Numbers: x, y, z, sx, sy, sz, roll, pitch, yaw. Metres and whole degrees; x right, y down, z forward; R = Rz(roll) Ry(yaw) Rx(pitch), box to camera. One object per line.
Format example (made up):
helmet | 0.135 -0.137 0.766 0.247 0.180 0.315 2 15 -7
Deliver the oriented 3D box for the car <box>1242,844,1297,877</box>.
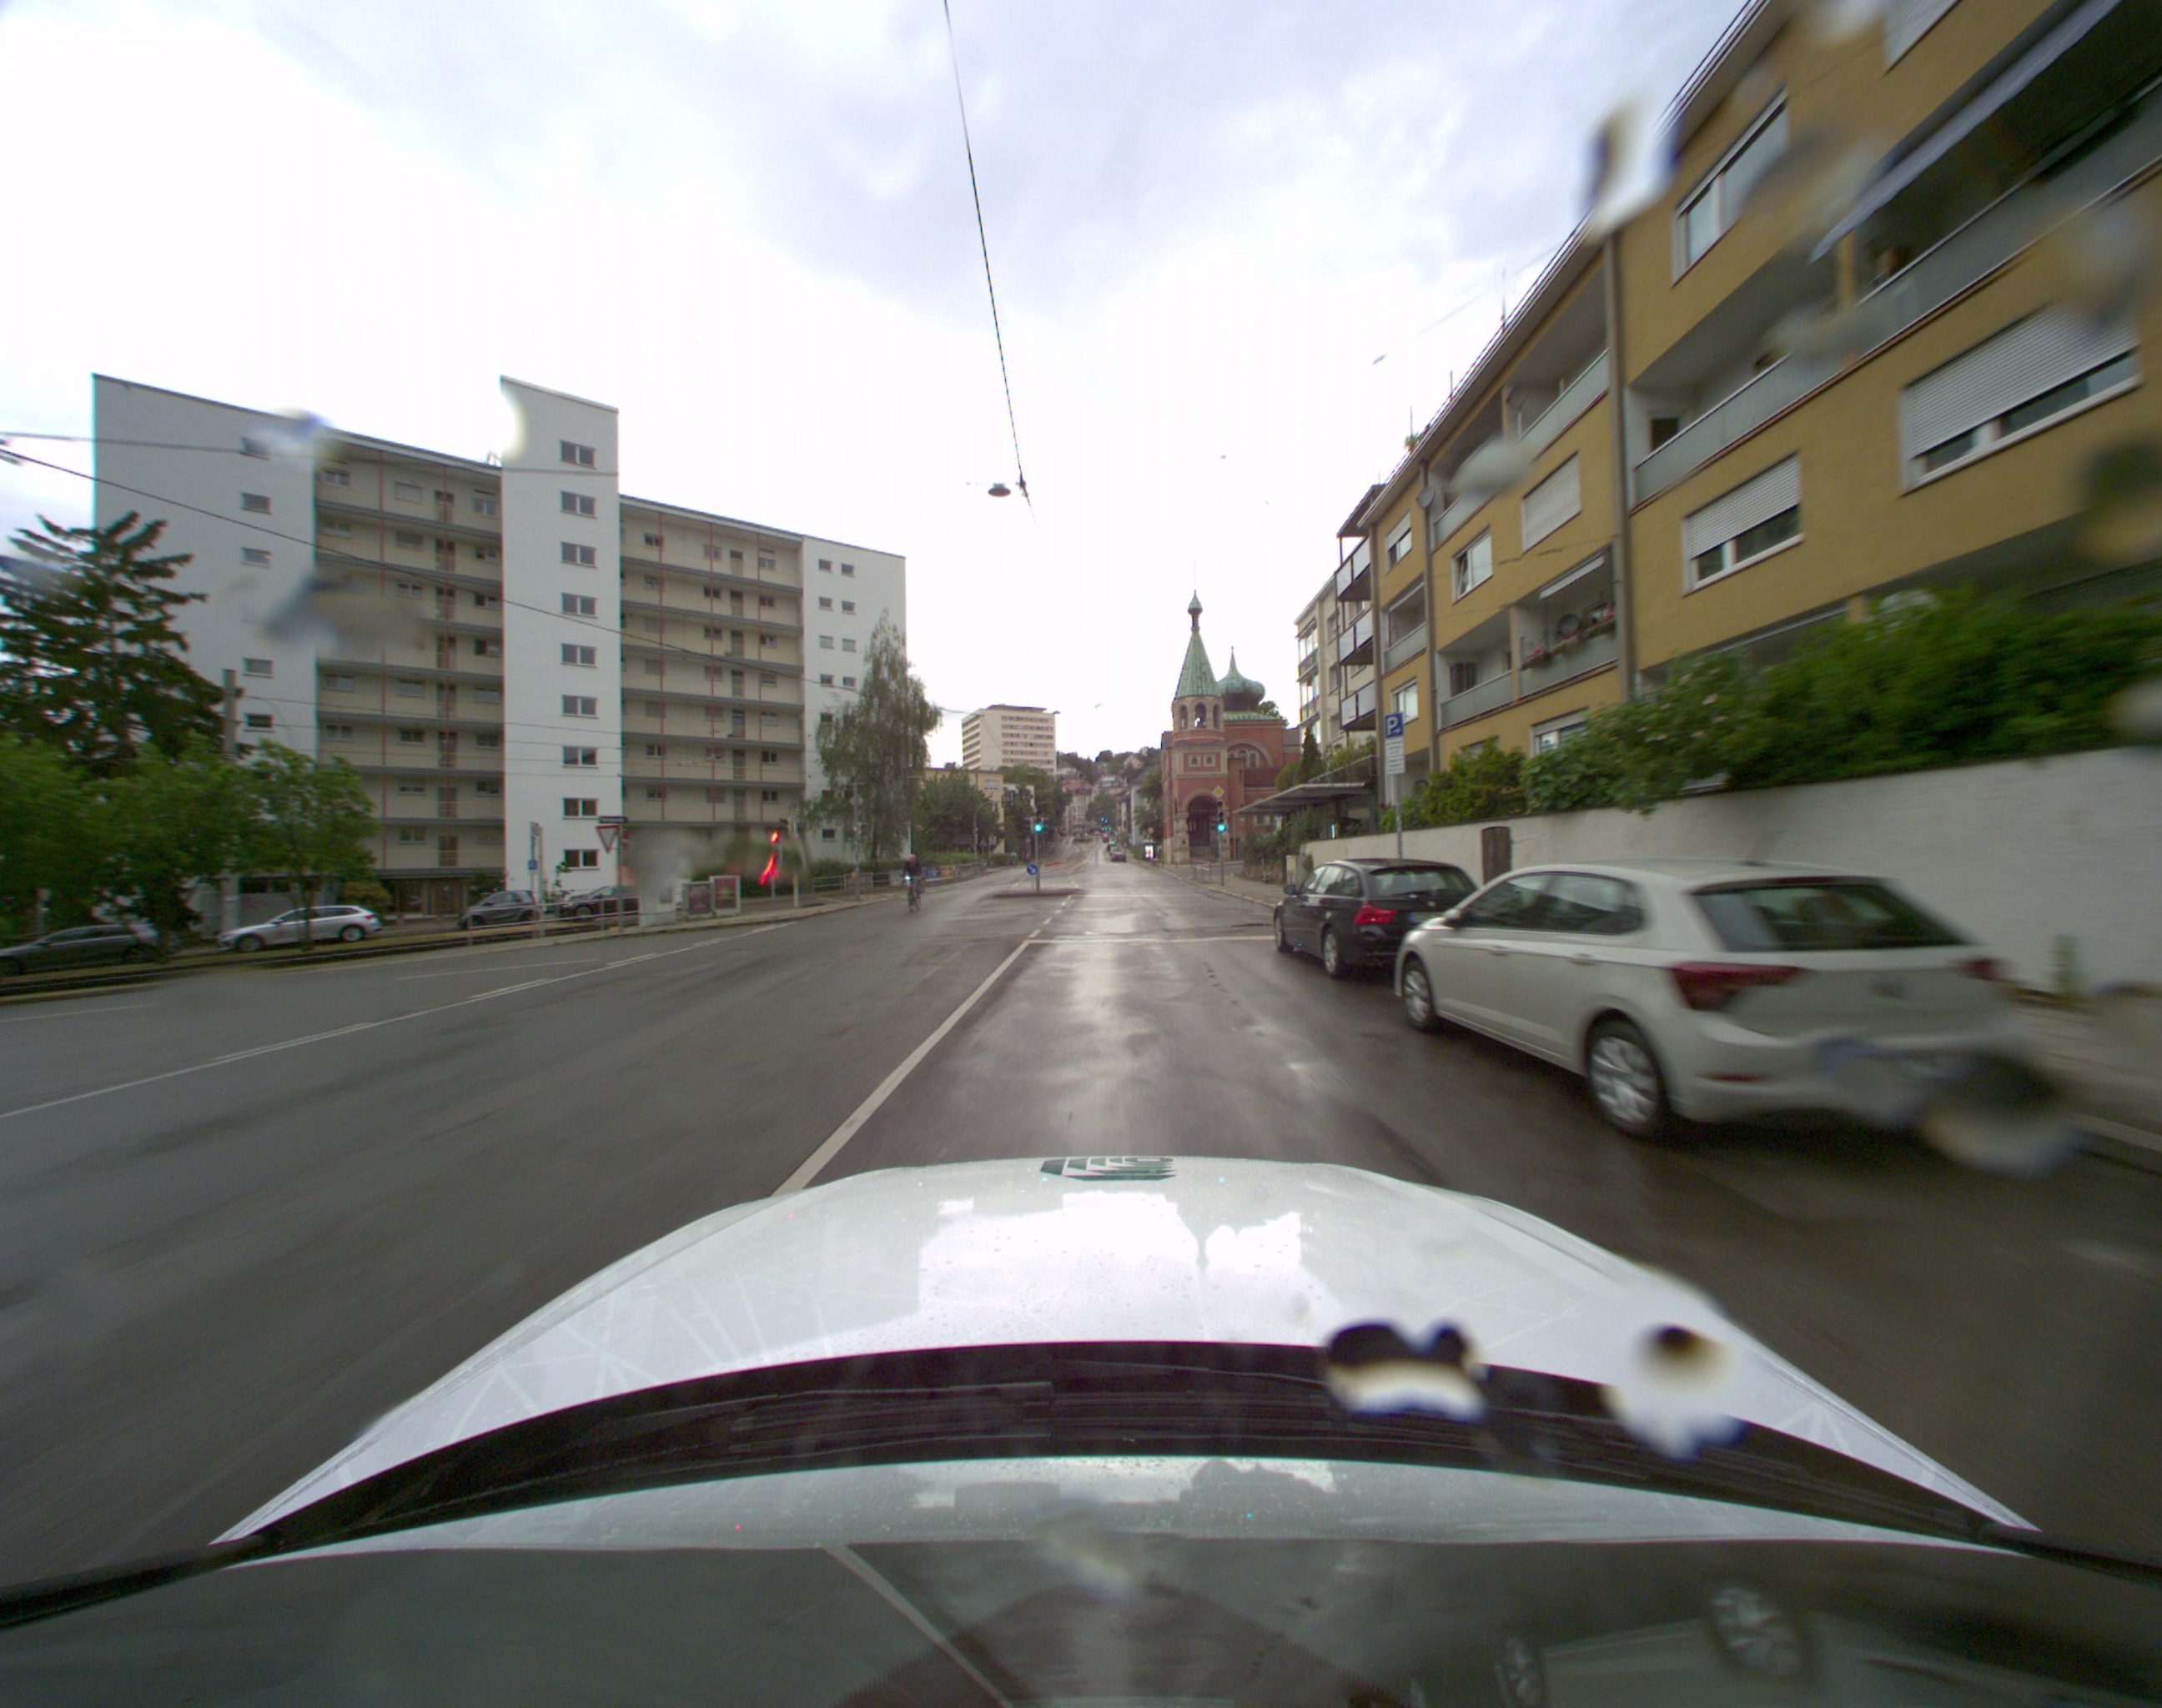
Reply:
car | 9.801 0.396 42.634 1.846 1.503 4.450 -4 -2 2

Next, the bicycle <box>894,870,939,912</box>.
bicycle | -4.816 1.074 23.977 0.821 1.148 2.127 -2 -2 1

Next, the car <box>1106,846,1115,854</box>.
car | 6.357 -0.852 175.655 1.900 1.641 4.690 0 2 0

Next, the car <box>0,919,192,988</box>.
car | -32.517 3.205 26.694 4.337 1.507 1.976 -7 3 -43

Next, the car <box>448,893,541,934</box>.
car | -24.676 2.473 34.277 2.910 1.392 1.788 -4 1 -44

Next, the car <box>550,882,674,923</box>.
car | -21.393 2.193 37.250 4.518 1.461 1.851 -4 -1 -43

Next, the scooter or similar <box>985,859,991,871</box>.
scooter or similar | -9.544 1.147 83.793 0.572 1.184 1.595 0 -2 -8

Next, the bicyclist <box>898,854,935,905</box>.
bicyclist | -4.827 0.749 23.955 0.821 1.462 1.140 -1 -2 1

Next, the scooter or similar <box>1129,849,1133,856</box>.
scooter or similar | 9.830 -0.366 159.963 0.572 1.249 1.613 -1 4 6

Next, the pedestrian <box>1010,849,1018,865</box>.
pedestrian | -8.298 0.374 100.963 0.917 1.846 1.016 0 -2 -3

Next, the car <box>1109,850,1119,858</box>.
car | 6.475 0.028 159.446 1.699 1.433 4.102 0 2 0

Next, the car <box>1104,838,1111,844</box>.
car | 7.234 -3.496 223.691 1.794 1.645 4.004 -1 0 4

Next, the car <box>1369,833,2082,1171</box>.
car | 3.577 0.701 5.654 1.642 1.460 4.100 -1 -2 -1

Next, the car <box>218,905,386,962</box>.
car | -28.909 2.885 30.397 4.337 1.508 1.976 -4 2 -43

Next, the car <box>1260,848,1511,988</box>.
car | 3.721 0.665 10.869 1.724 1.460 4.478 -1 0 1

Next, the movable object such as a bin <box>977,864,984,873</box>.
movable object such as a bin | -10.098 1.482 81.929 0.685 0.882 0.759 -1 -2 -5

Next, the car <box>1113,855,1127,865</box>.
car | 5.910 0.848 122.916 1.852 1.487 4.644 -1 0 0

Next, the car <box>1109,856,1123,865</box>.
car | 5.740 1.118 134.076 1.934 1.464 4.204 -1 0 -1

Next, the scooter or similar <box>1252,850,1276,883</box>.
scooter or similar | 7.666 0.522 34.107 0.532 1.327 1.660 -6 -1 2
